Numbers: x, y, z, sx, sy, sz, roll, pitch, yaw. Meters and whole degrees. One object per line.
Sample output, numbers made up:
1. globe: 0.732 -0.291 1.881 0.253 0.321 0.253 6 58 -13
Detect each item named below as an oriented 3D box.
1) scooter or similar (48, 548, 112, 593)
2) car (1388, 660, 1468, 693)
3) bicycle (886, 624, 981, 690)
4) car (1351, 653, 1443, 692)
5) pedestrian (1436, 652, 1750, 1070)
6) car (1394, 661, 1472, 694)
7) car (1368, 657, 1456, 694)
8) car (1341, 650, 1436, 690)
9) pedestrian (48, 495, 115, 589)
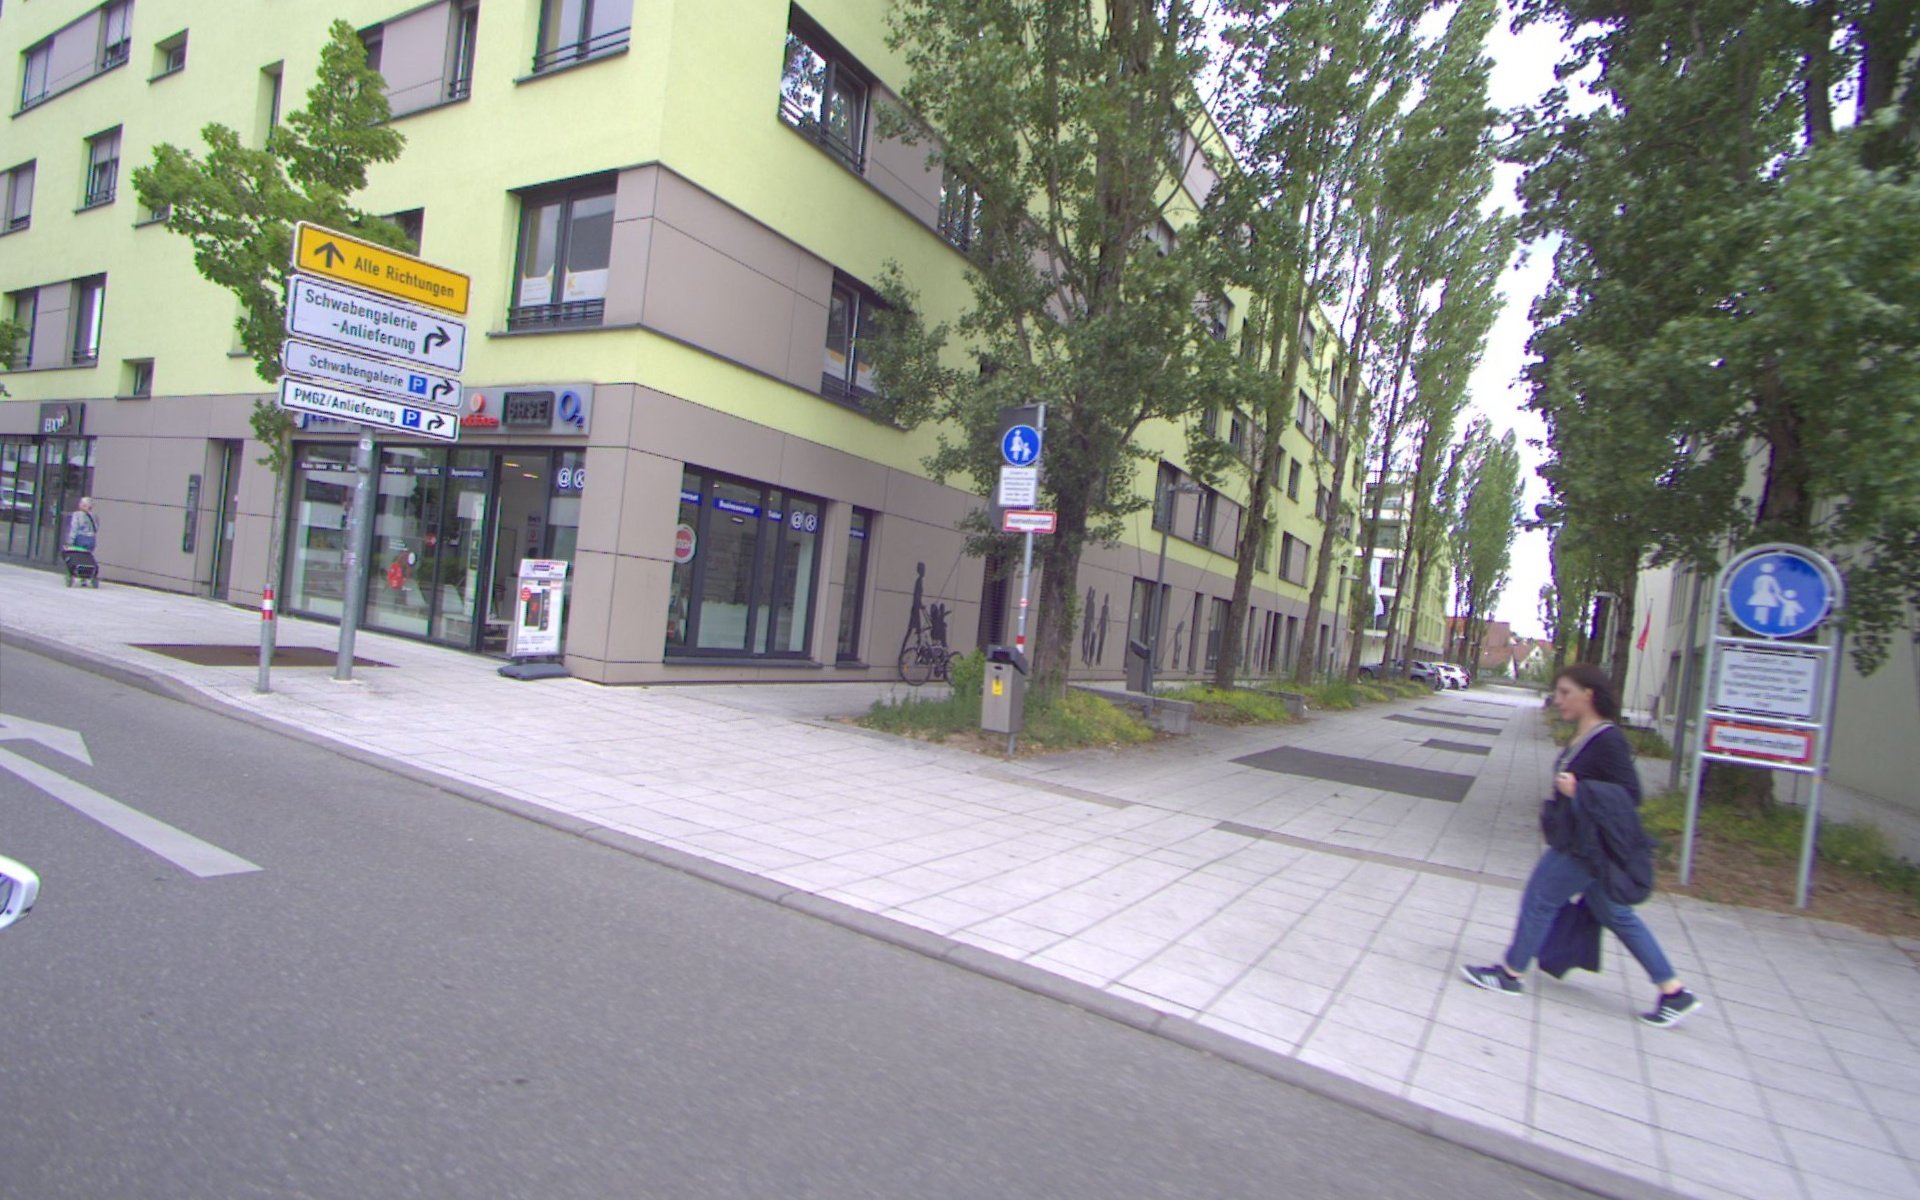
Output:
1. scooter or similar: -15.503 -0.516 17.722 0.810 0.681 0.592 6 1 31
2. car: 32.522 5.307 69.934 4.711 1.674 1.740 6 -2 32
3. bicycle: -0.436 1.013 17.558 0.533 1.012 1.879 6 -1 36
4. car: 26.159 4.355 60.238 4.711 1.674 1.740 6 -2 32
5. pedestrian: 2.938 1.109 4.766 0.999 1.603 0.948 6 1 31
6. car: 33.619 5.529 71.509 4.711 1.674 1.740 6 -2 32
7. car: 28.086 4.697 62.588 4.711 1.674 1.740 6 -2 32
8. car: 24.799 4.059 58.240 4.711 1.674 1.740 6 -2 32
9. pedestrian: -15.944 -1.046 18.258 0.593 1.614 0.696 7 2 31
